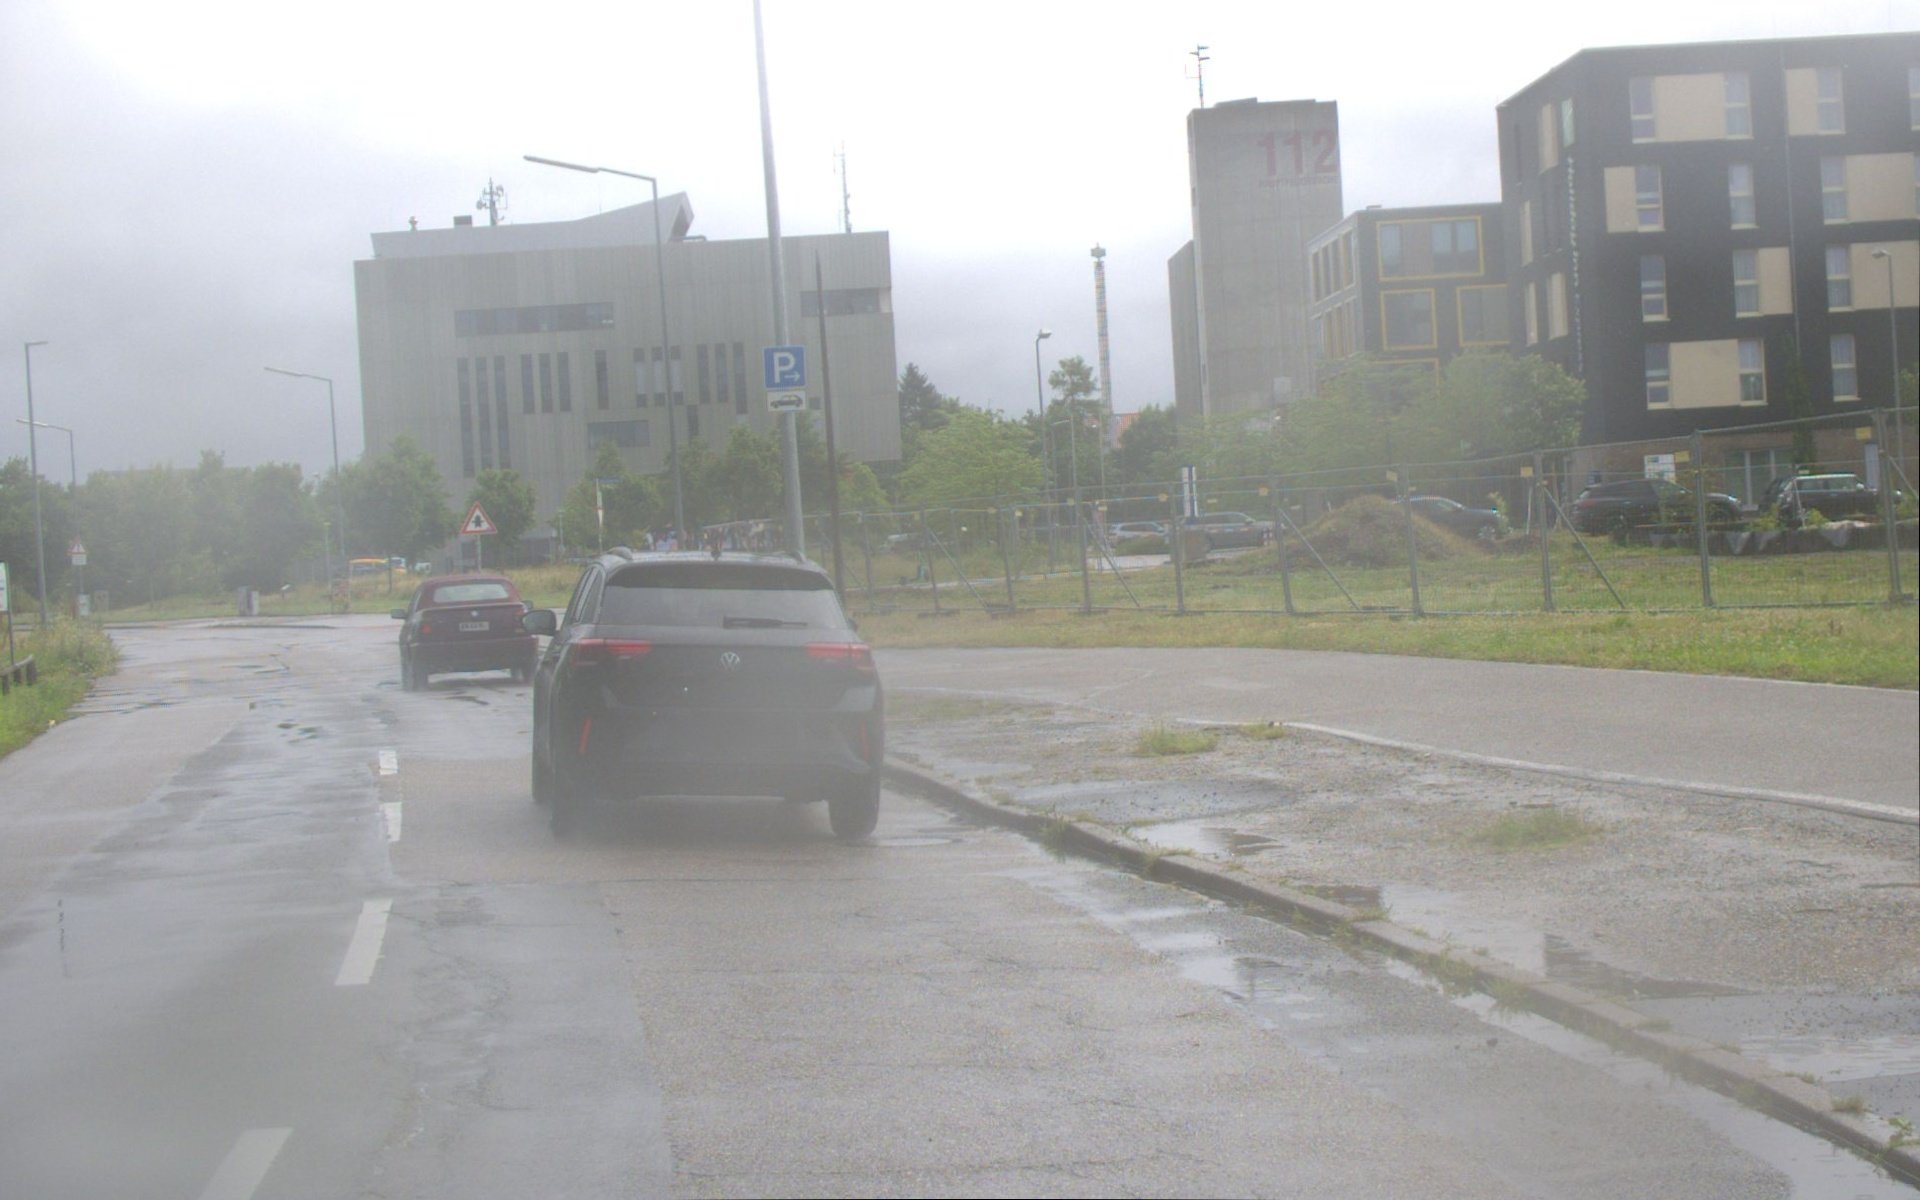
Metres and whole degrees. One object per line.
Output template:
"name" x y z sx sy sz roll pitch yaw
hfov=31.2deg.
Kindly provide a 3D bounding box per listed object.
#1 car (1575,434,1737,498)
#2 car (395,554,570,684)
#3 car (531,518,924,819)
"car" 19.302 -3.722 95.423 3.986 1.722 2.001 -1 1 -6
"car" -6.344 0.211 45.339 1.841 1.437 4.001 -6 2 -12
"car" -1.439 0.301 19.700 1.986 1.515 4.001 -1 1 -7
